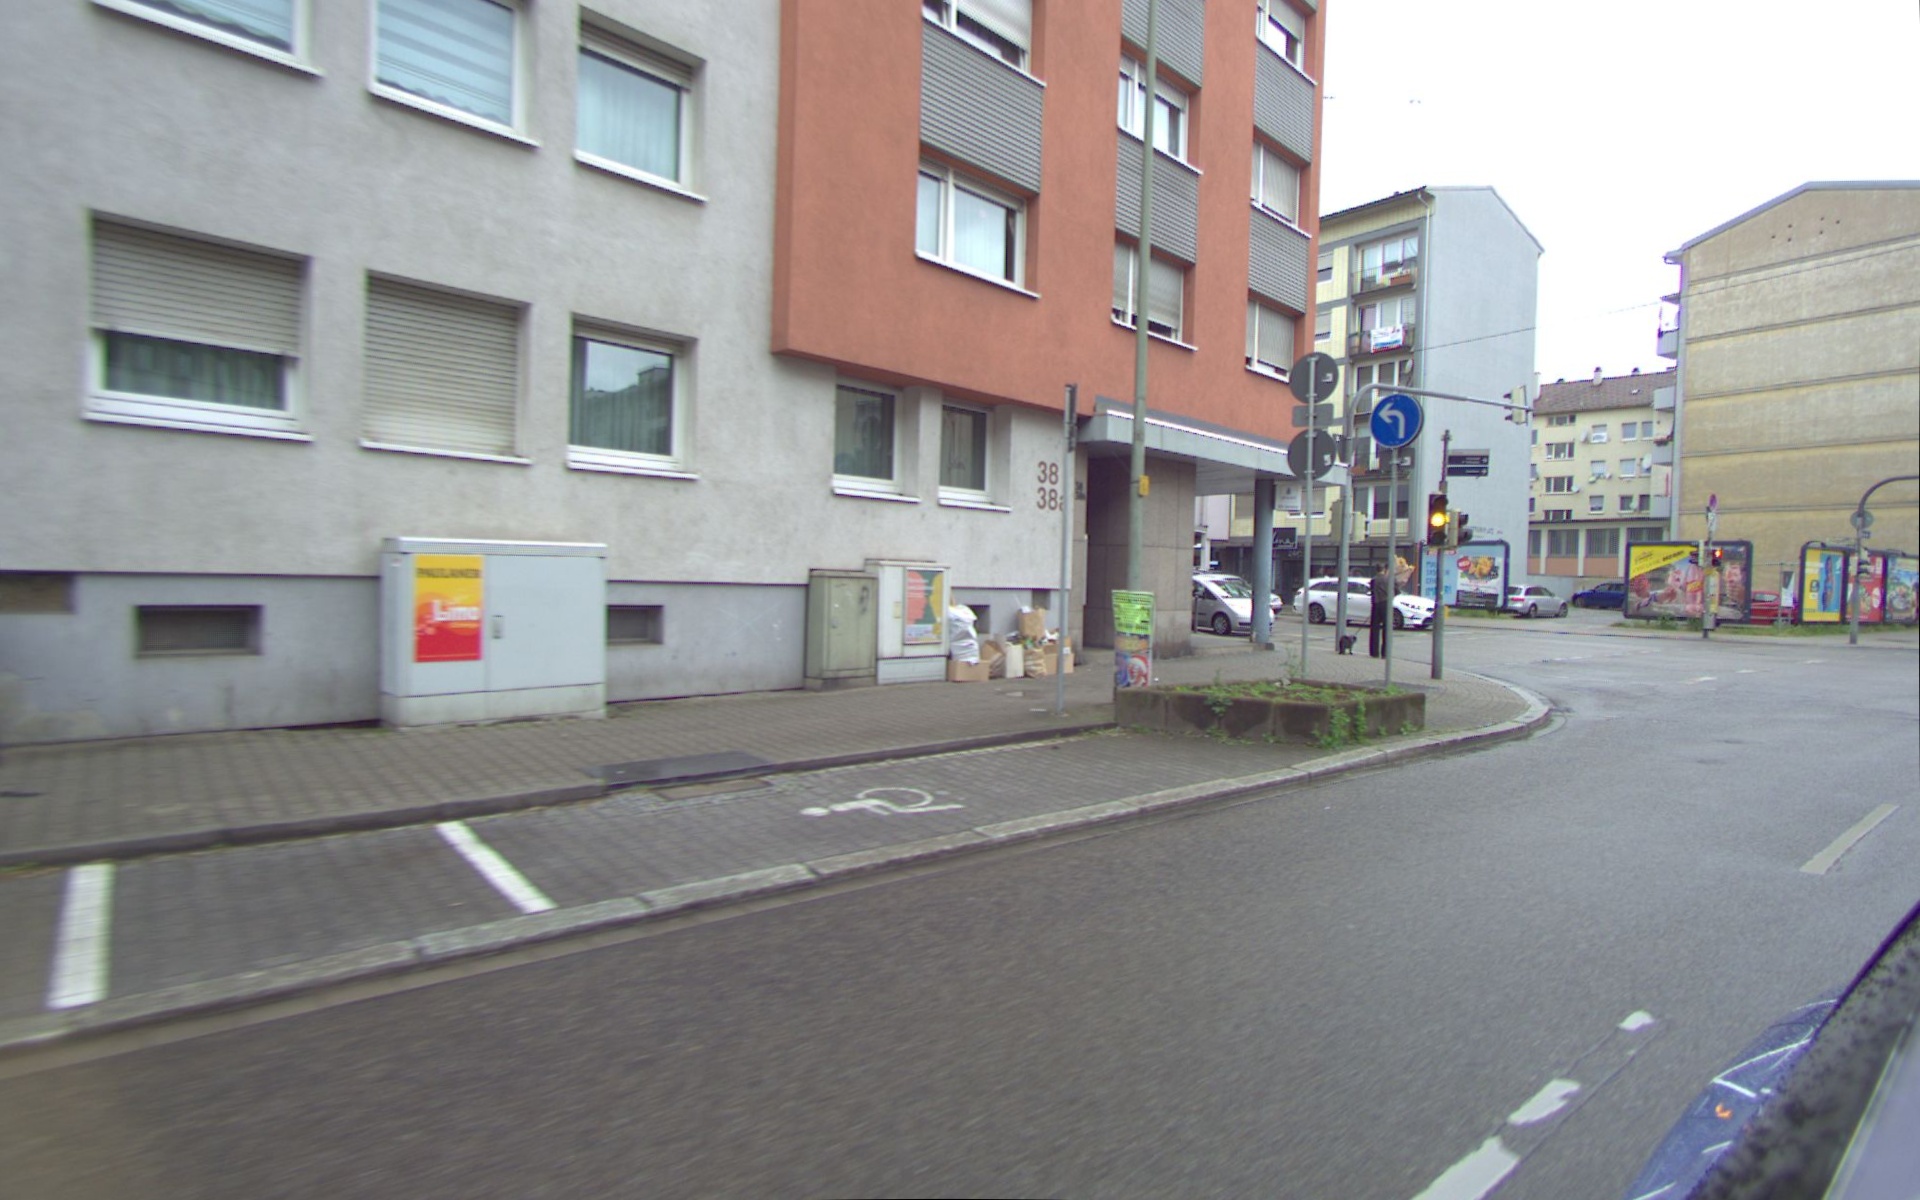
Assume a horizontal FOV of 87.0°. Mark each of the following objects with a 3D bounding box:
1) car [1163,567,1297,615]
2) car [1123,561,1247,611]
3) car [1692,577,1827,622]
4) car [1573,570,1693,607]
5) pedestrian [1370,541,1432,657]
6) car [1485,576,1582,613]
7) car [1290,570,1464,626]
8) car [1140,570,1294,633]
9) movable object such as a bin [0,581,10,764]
[{"bbox_3d":[9.507,-0.369,35.957,1.810,1.504,4.527,0,2,-34],"label":"car"},{"bbox_3d":[9.615,-0.631,43.561,1.992,1.893,4.892,5,-1,-41],"label":"car"},{"bbox_3d":[30.340,-0.044,38.471,2.051,1.571,3.661,0,2,-39],"label":"car"},{"bbox_3d":[33.339,-0.540,50.317,2.110,1.710,4.789,0,0,-15],"label":"car"},{"bbox_3d":[8.517,-0.015,19.562,0.755,2.186,0.828,1,-1,-34],"label":"pedestrian"},{"bbox_3d":[24.557,-0.235,43.333,4.247,1.458,1.882,0,2,-34],"label":"car"},{"bbox_3d":[12.738,-0.115,31.221,1.883,1.504,4.667,0,2,-35],"label":"car"},{"bbox_3d":[6.920,-0.016,27.613,1.670,1.504,3.961,0,2,-34],"label":"car"},{"bbox_3d":[-6.247,0.431,6.064,0.713,1.081,0.772,3,2,44],"label":"movable object such as a bin"}]
